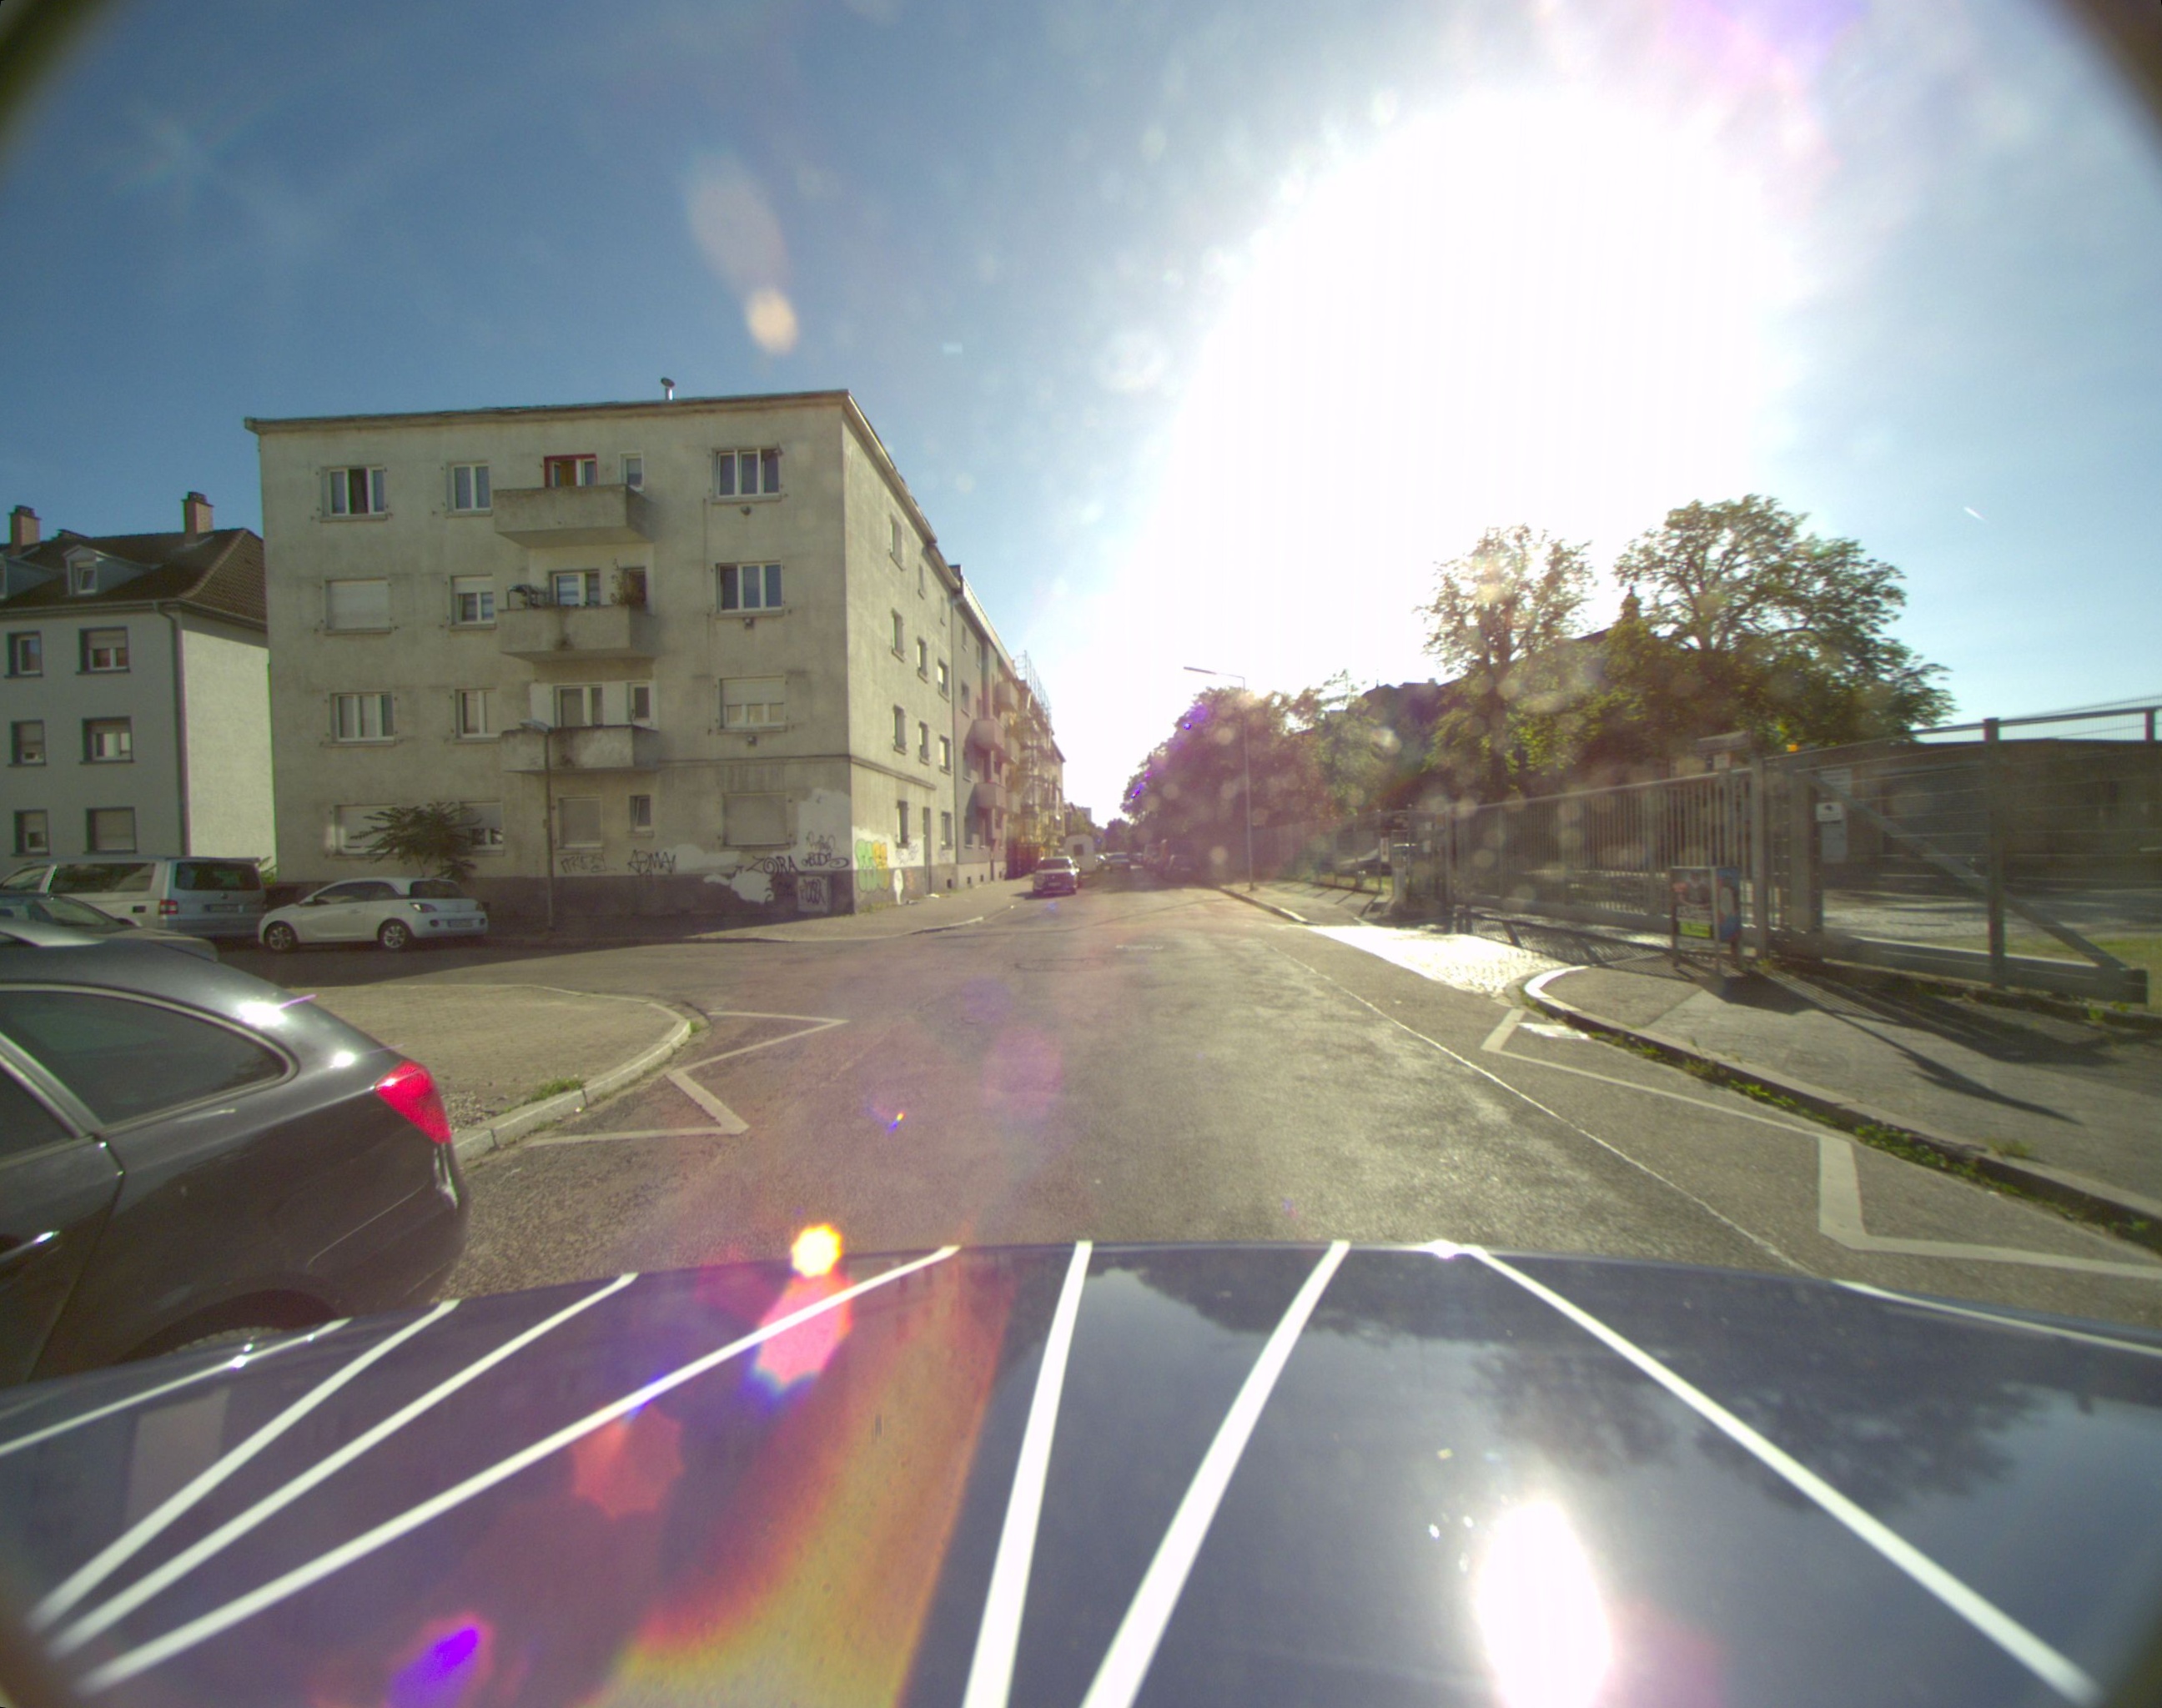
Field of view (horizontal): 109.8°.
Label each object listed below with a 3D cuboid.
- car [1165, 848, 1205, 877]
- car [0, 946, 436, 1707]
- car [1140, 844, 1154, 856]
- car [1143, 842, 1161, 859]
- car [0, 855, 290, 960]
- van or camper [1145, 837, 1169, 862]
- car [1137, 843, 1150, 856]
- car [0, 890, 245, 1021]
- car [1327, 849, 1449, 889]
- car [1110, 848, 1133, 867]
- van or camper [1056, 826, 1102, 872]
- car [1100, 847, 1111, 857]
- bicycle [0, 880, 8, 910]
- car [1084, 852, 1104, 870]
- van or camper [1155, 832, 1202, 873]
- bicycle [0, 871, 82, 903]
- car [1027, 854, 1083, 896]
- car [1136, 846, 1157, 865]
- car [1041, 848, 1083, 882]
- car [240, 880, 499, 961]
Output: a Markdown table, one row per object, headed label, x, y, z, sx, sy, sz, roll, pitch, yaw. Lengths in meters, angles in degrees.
| label | x | y | z | sx | sy | sz | roll | pitch | yaw |
| --- | --- | --- | --- | --- | --- | --- | --- | --- | --- |
| car | 5.474 | 0.426 | 40.513 | 1.651 | 1.409 | 4.000 | -2 | 1 | 2 |
| car | -2.737 | 1.086 | 0.121 | 1.622 | 1.540 | 4.085 | -1 | 1 | 2 |
| car | 10.306 | -0.598 | 118.234 | 1.998 | 1.739 | 4.000 | -1 | 1 | 3 |
| car | 8.603 | -0.473 | 92.544 | 1.998 | 2.002 | 4.000 | -1 | 1 | 3 |
| car | -19.497 | 1.052 | 15.468 | 4.851 | 1.922 | 1.958 | -1 | -1 | 2 |
| van or camper | 7.760 | -0.498 | 77.593 | 2.125 | 2.484 | 4.000 | -2 | 1 | 2 |
| car | 10.337 | -0.748 | 126.763 | 1.998 | 2.002 | 4.000 | -1 | 1 | 3 |
| car | -13.257 | 1.195 | 9.352 | 4.045 | 1.406 | 1.804 | -1 | -2 | 2 |
| car | 12.043 | 0.569 | 30.018 | 3.996 | 1.412 | 2.000 | -1 | 1 | 2 |
| car | 3.518 | 0.247 | 66.055 | 1.861 | 1.543 | 4.000 | -2 | 1 | 2 |
| van or camper | -0.050 | -0.341 | 54.870 | 2.957 | 3.161 | 6.174 | 0 | 0 | 3 |
| car | 3.688 | -0.273 | 114.918 | 1.651 | 1.451 | 4.000 | -2 | 1 | 2 |
| bicycle | -35.705 | 1.412 | 23.984 | 0.500 | 0.956 | 2.073 | -1 | 4 | 4 |
| car | 1.190 | 0.601 | 66.567 | 1.651 | 1.409 | 4.000 | -2 | 1 | 2 |
| van or camper | 5.881 | -0.106 | 46.390 | 2.211 | 2.268 | 5.310 | -2 | 1 | 2 |
| bicycle | -33.849 | 1.078 | 24.725 | 2.072 | 0.956 | 0.500 | -1 | 4 | 4 |
| car | -1.049 | 0.843 | 32.403 | 2.069 | 1.544 | 4.000 | -2 | 1 | 2 |
| car | 6.061 | 0.122 | 70.414 | 1.651 | 1.674 | 4.000 | -2 | 1 | 2 |
| car | -0.905 | 0.528 | 38.872 | 1.876 | 1.544 | 4.000 | -2 | 1 | 2 |
| car | -14.115 | 1.287 | 15.200 | 3.717 | 1.450 | 1.693 | -1 | -1 | 4 |
